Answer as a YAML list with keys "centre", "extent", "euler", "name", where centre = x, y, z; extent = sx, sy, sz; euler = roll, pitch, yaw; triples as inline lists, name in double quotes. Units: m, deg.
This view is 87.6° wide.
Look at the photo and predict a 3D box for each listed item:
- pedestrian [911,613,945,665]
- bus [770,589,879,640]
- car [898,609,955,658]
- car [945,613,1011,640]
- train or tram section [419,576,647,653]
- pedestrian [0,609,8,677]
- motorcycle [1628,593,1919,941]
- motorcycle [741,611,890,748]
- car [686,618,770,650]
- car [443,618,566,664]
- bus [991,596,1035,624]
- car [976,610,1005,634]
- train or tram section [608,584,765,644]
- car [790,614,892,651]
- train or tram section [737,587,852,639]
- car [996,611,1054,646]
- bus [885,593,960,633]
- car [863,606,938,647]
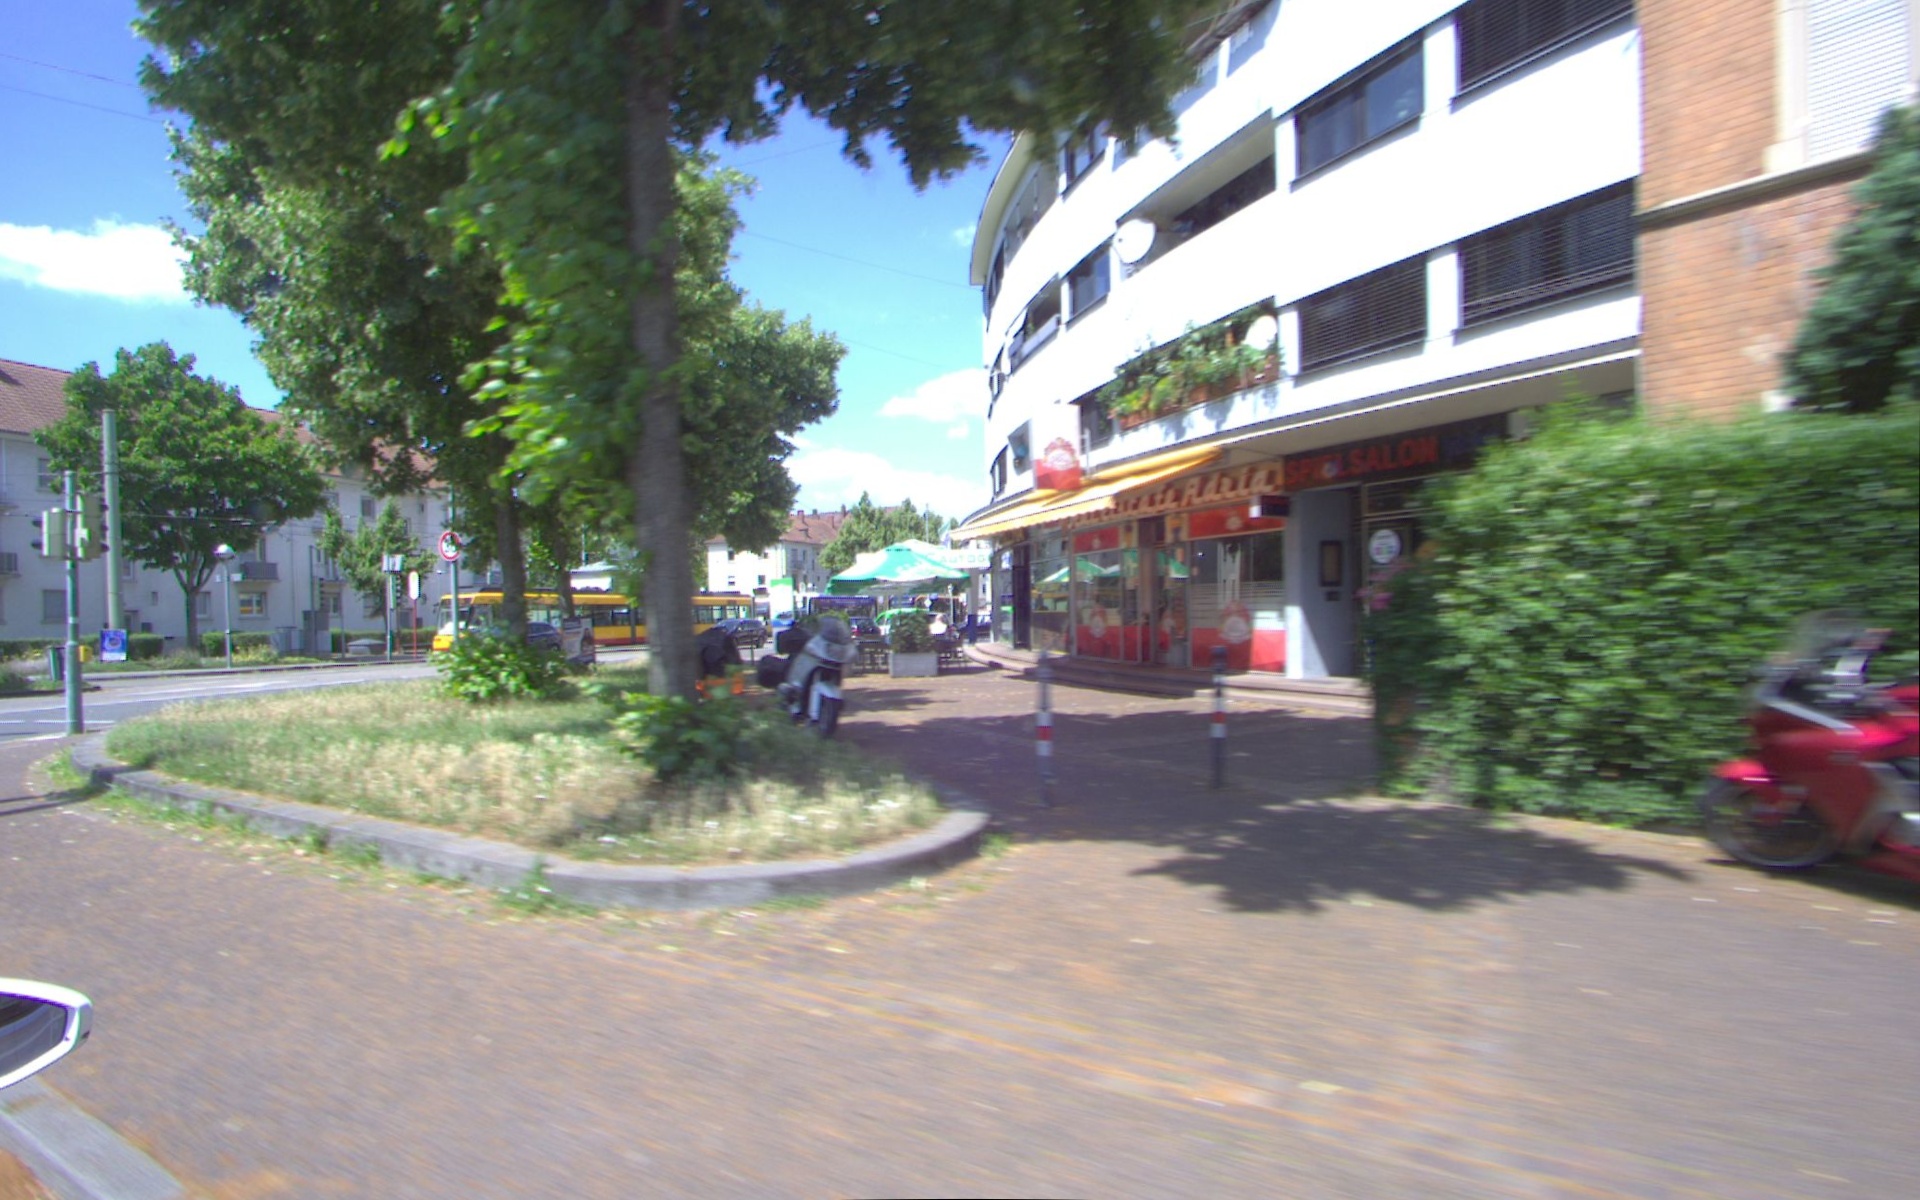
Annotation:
- centre: [-0.842, 0.996, 25.929]
  extent: [0.800, 1.322, 1.017]
  euler: [0, 0, -6]
  name: "pedestrian"
- centre: [-8.972, 0.998, 68.456]
  extent: [2.690, 3.169, 11.991]
  euler: [-1, -1, 17]
  name: "bus"
- centre: [-1.045, 1.053, 31.744]
  extent: [1.674, 1.447, 4.365]
  euler: [-1, -2, -2]
  name: "car"
- centre: [1.098, 1.589, 60.916]
  extent: [3.866, 1.538, 1.823]
  euler: [-1, -1, 6]
  name: "car"
- centre: [-22.232, 0.796, 53.874]
  extent: [2.768, 3.615, 14.160]
  euler: [-1, -1, 17]
  name: "train or tram section"
- centre: [-24.829, 1.100, 25.303]
  extent: [0.747, 1.727, 0.838]
  euler: [0, 0, 5]
  name: "pedestrian"
- centre: [4.111, 0.637, 3.958]
  extent: [0.921, 1.320, 2.264]
  euler: [-1, 1, -36]
  name: "motorcycle"
- centre: [-1.631, 0.803, 10.941]
  extent: [0.905, 1.329, 2.215]
  euler: [1, -1, -28]
  name: "motorcycle"
- centre: [-11.541, 1.676, 50.143]
  extent: [1.965, 1.539, 4.503]
  euler: [-1, -1, 19]
  name: "car"
- centre: [-15.726, 1.378, 34.842]
  extent: [1.961, 1.519, 4.426]
  euler: [0, -1, 5]
  name: "car"
- centre: [6.526, 1.229, 121.373]
  extent: [2.690, 3.260, 11.033]
  euler: [-1, -1, 17]
  name: "bus"
- centre: [2.650, 1.902, 86.216]
  extent: [1.780, 2.007, 3.998]
  euler: [-1, -1, 12]
  name: "car"
- centre: [-17.982, 0.979, 67.635]
  extent: [2.744, 3.615, 14.684]
  euler: [-1, -1, 17]
  name: "train or tram section"
- centre: [-4.926, 1.346, 41.338]
  extent: [4.124, 1.458, 1.887]
  euler: [-2, -2, 40]
  name: "car"
- centre: [-13.282, 1.100, 82.950]
  extent: [2.744, 3.945, 15.529]
  euler: [-1, -1, 17]
  name: "train or tram section"
- centre: [3.193, 1.349, 48.583]
  extent: [1.977, 1.616, 4.284]
  euler: [0, -1, 16]
  name: "car"
- centre: [-3.080, 1.142, 86.892]
  extent: [2.690, 3.169, 11.991]
  euler: [-1, -1, 17]
  name: "bus"
- centre: [-2.813, 1.228, 46.518]
  extent: [1.816, 1.817, 4.004]
  euler: [-1, -1, -31]
  name: "car"
